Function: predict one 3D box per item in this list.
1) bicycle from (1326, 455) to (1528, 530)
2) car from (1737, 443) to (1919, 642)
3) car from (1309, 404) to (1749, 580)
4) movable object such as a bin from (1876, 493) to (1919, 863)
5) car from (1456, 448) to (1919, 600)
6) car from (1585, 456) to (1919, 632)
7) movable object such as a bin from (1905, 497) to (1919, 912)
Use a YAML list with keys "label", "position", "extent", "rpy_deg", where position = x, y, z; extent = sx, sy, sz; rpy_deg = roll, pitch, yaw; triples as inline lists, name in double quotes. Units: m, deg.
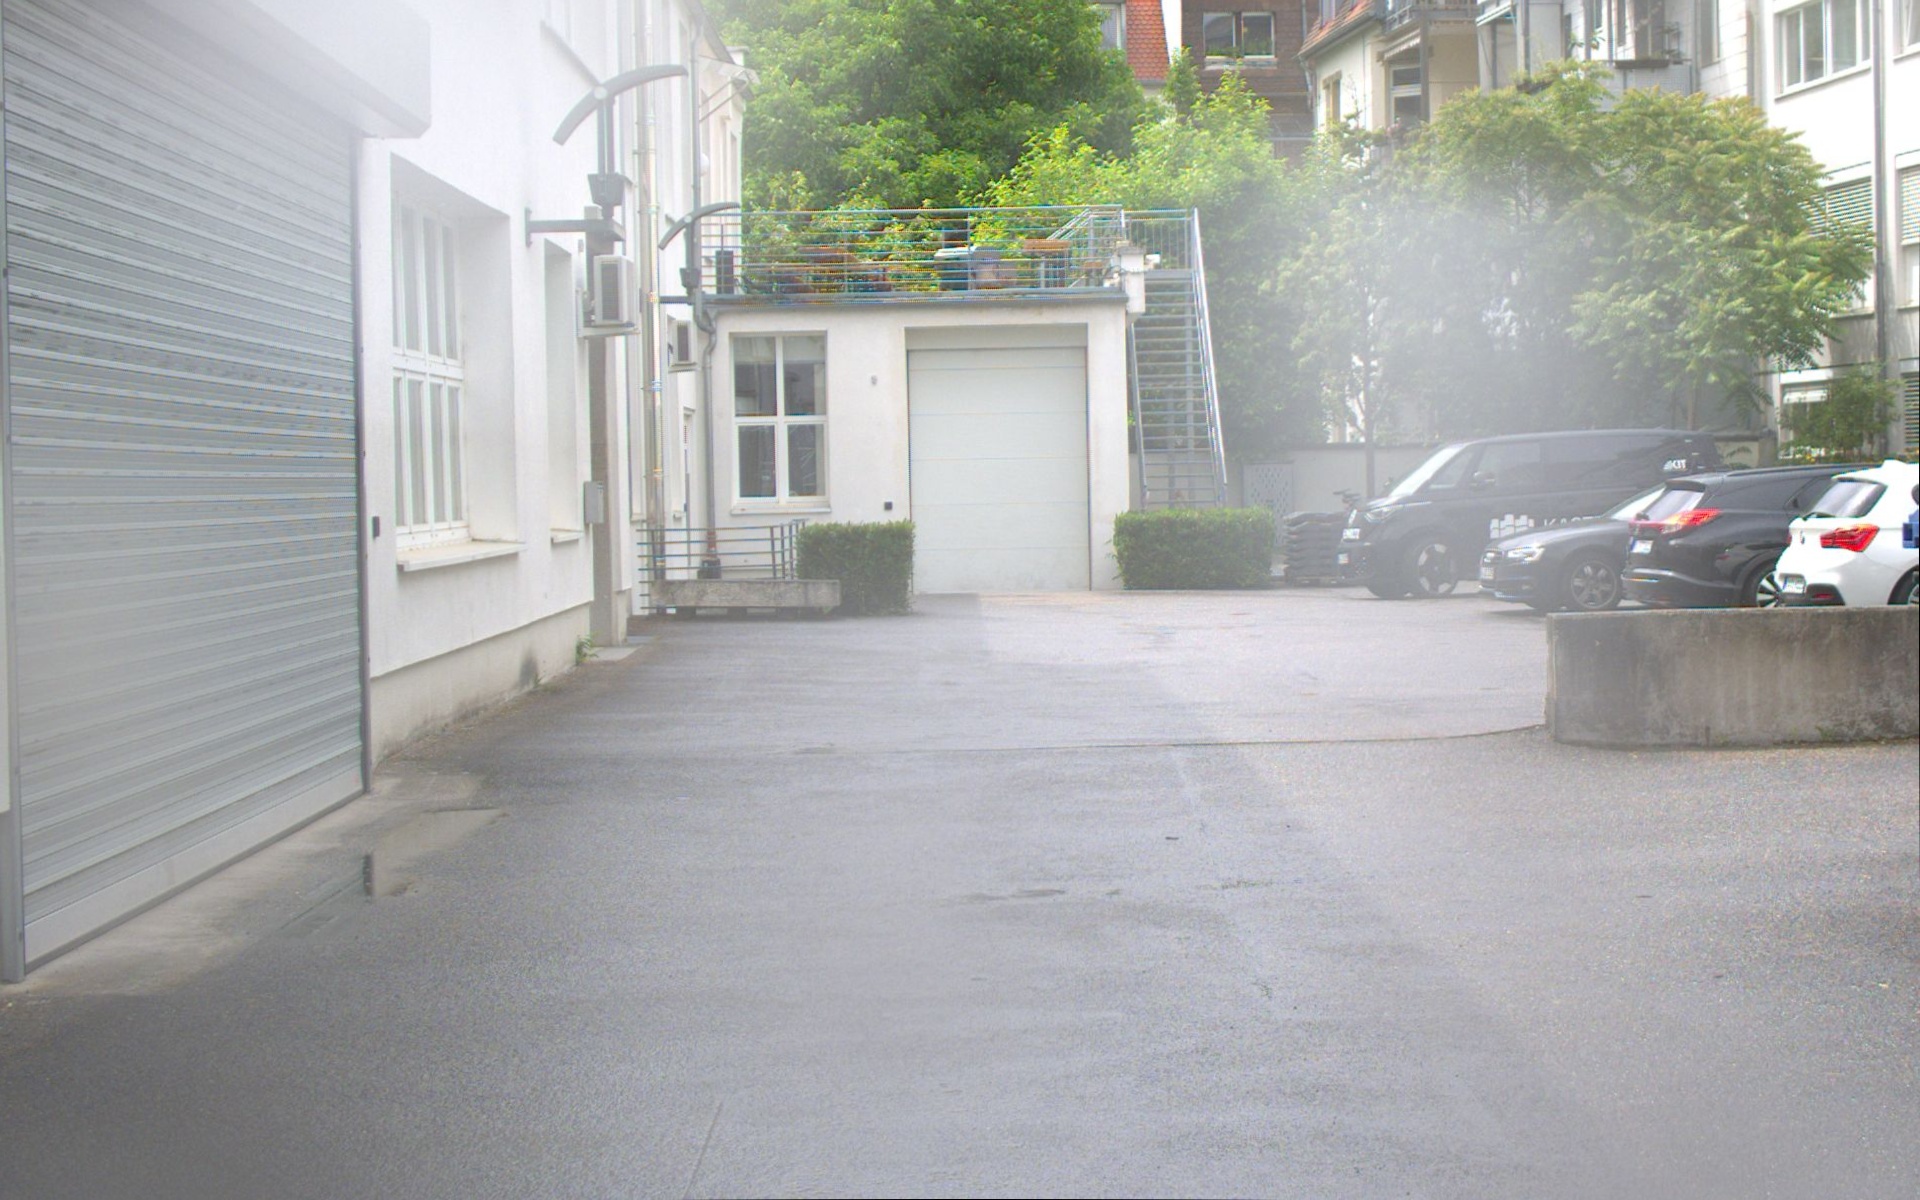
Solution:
- label: "bicycle"
  position: [6.815, -1.569, 50.220]
  extent: [2.843, 1.074, 0.689]
  rpy_deg: [0, 3, -3]
- label: "car"
  position: [8.428, -0.535, 27.091]
  extent: [4.097, 1.450, 1.834]
  rpy_deg: [-3, 3, -4]
- label: "car"
  position: [6.737, -1.304, 40.983]
  extent: [4.708, 1.827, 2.111]
  rpy_deg: [-3, 3, -6]
- label: "movable object such as a bin"
  position: [4.050, 0.273, 12.311]
  extent: [1.229, 1.312, 1.056]
  rpy_deg: [-2, 3, -1]
- label: "car"
  position: [7.458, -0.804, 35.184]
  extent: [4.353, 1.344, 1.861]
  rpy_deg: [-2, 3, -7]
- label: "car"
  position: [7.890, -0.547, 30.534]
  extent: [4.169, 1.396, 1.940]
  rpy_deg: [-3, 2, -7]
- label: "movable object such as a bin"
  position: [3.644, 0.358, 10.538]
  extent: [1.174, 1.313, 1.056]
  rpy_deg: [0, 3, -1]
